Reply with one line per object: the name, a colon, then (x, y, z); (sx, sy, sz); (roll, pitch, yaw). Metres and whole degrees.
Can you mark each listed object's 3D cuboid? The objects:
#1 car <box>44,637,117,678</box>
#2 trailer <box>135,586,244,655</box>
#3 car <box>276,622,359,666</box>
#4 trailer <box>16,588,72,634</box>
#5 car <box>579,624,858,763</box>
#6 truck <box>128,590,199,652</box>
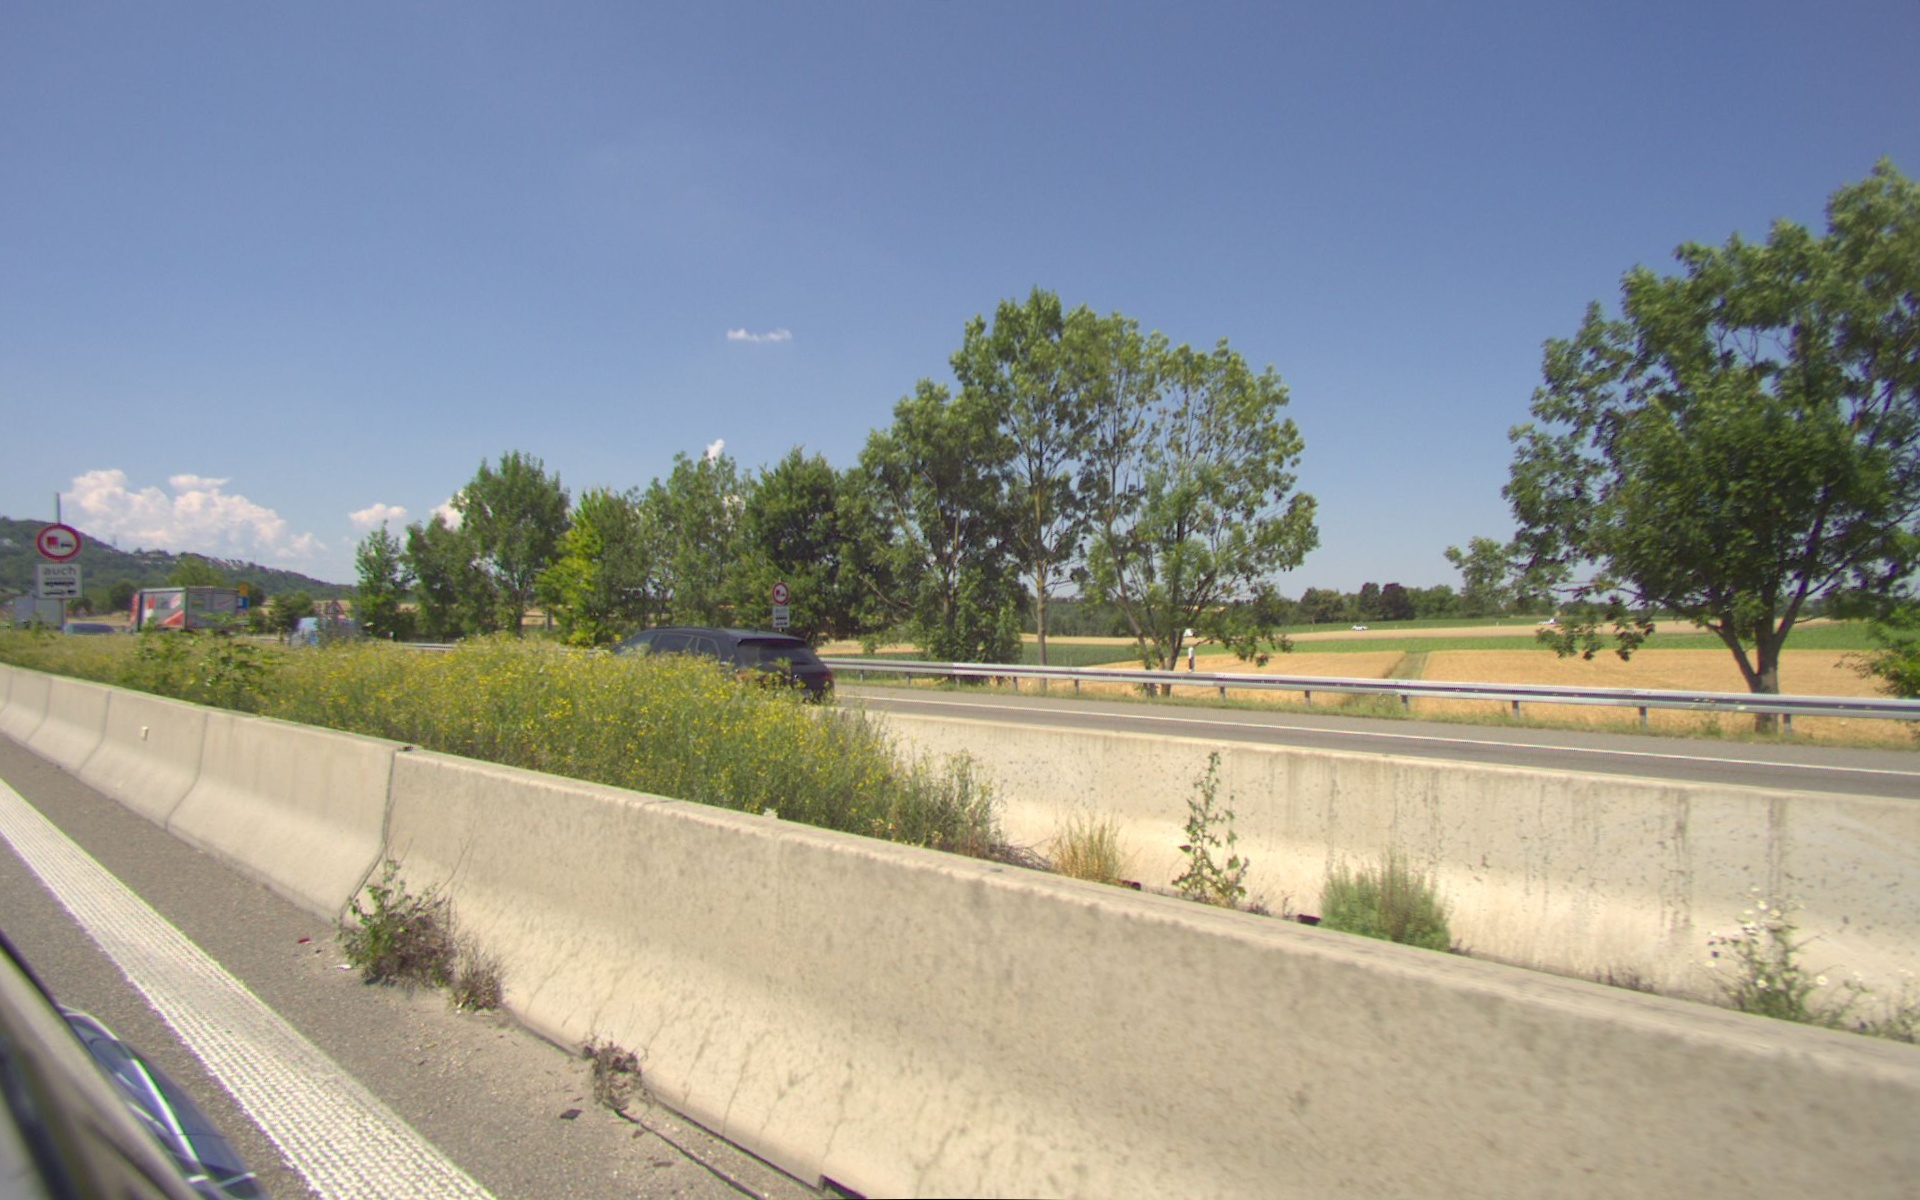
car: (-36.625, 2.345, 42.113); (4.726, 1.562, 1.743); (-1, -2, 42)
trailer: (-47.253, 1.314, 61.842); (12.179, 3.885, 2.826); (-1, -3, 41)
car: (-29.930, 2.037, 47.103); (5.114, 1.967, 1.744); (-1, -3, 40)
trailer: (-91.729, 1.178, 101.224); (13.640, 4.383, 2.852); (-1, -2, 42)
car: (-3.150, 1.068, 12.810); (3.770, 1.498, 1.524); (-1, -2, 40)
truck: (-51.929, 1.402, 65.943); (3.998, 3.885, 2.826); (-1, -3, 41)
